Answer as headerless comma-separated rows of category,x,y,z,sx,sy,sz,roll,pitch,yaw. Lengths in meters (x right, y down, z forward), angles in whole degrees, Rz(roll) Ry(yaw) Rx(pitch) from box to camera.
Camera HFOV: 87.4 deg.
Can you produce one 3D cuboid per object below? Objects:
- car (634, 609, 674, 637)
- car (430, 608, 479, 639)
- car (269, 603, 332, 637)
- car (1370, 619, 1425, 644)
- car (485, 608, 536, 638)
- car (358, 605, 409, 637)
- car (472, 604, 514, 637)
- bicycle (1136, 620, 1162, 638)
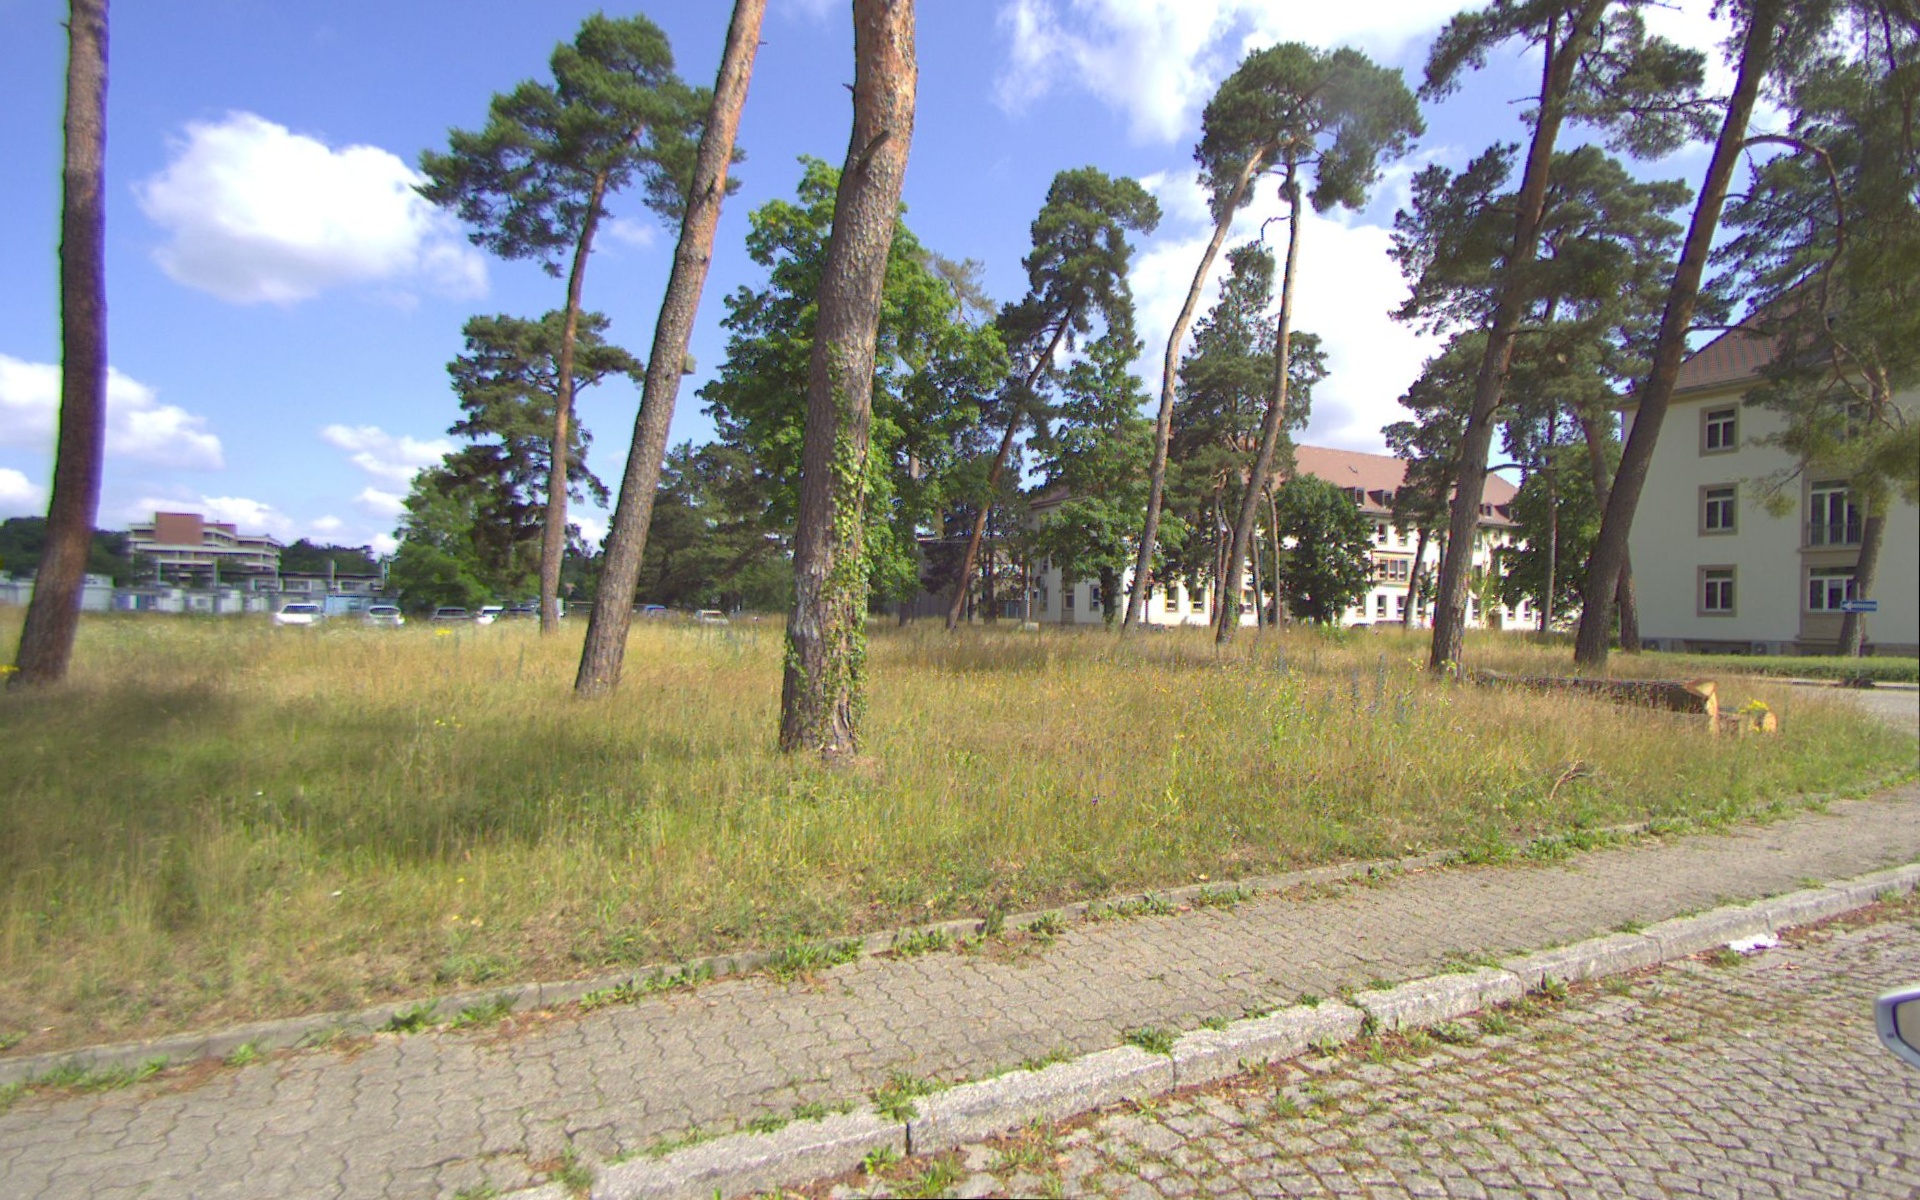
car,-20.843,1.561,68.334,1.877,1.803,4.049,2,-2,-28
car,-23.103,1.080,45.872,1.877,1.337,4.049,2,-2,-28
car,-28.418,0.866,43.371,1.877,1.366,4.041,2,-2,-28
car,36.285,2.601,83.398,1.691,2.018,4.045,1,-2,-26
car,-21.070,1.100,47.048,1.877,1.326,4.049,2,-2,-28
car,-25.924,0.953,45.263,1.877,1.356,4.049,2,-2,-28
car,-26.336,1.164,56.639,1.877,1.724,4.049,2,-2,-28
bicycle,11.799,1.805,62.713,1.560,1.115,0.490,1,-1,-17
